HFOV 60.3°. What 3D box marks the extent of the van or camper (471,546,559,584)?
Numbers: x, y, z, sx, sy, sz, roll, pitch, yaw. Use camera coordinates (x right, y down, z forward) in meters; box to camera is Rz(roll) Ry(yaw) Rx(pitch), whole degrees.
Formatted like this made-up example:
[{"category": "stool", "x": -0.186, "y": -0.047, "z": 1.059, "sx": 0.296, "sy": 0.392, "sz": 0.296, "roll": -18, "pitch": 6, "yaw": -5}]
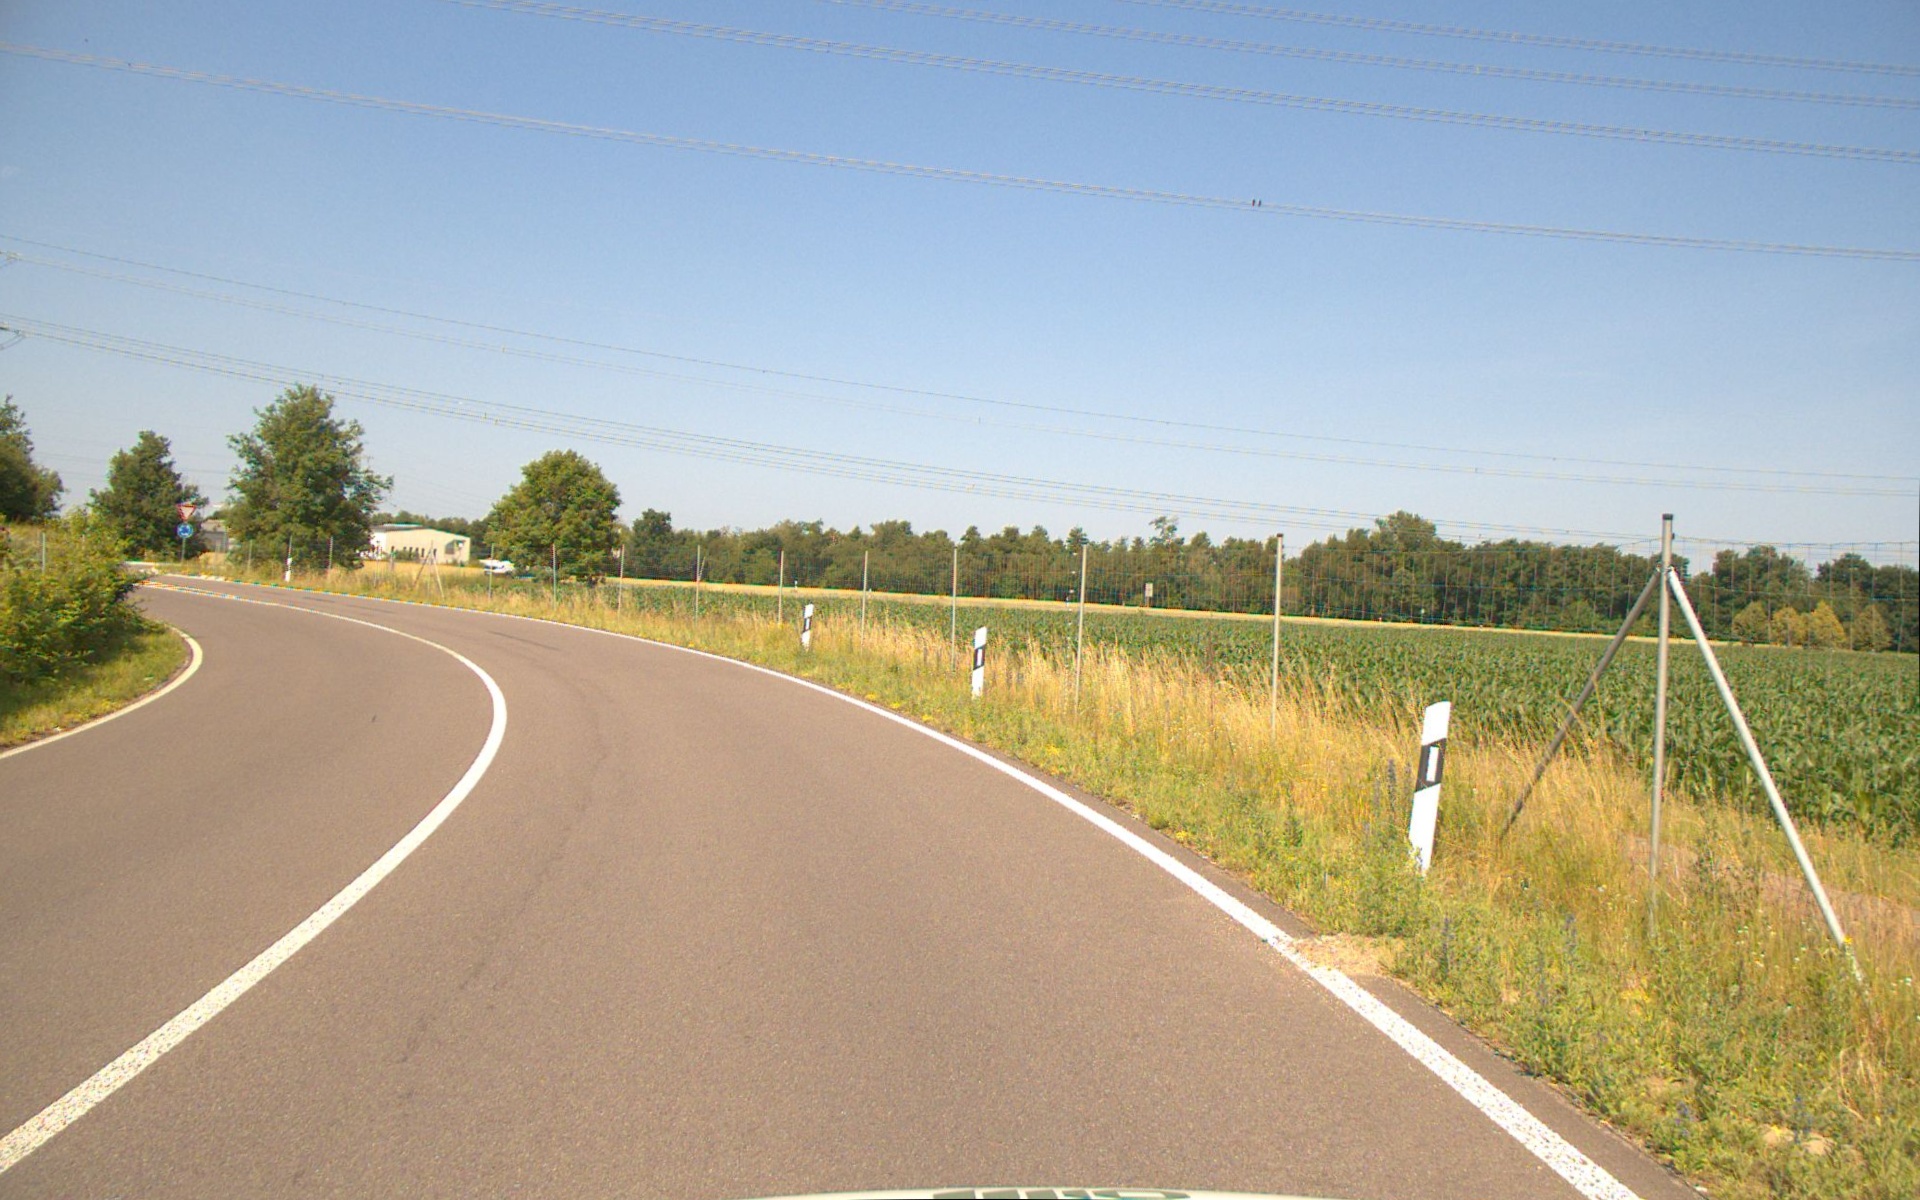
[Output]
[{"category": "van or camper", "x": -31.232, "y": -2.447, "z": 116.283, "sx": 1.965, "sy": 2.306, "sz": 5.732, "roll": 3, "pitch": 0, "yaw": 43}]
